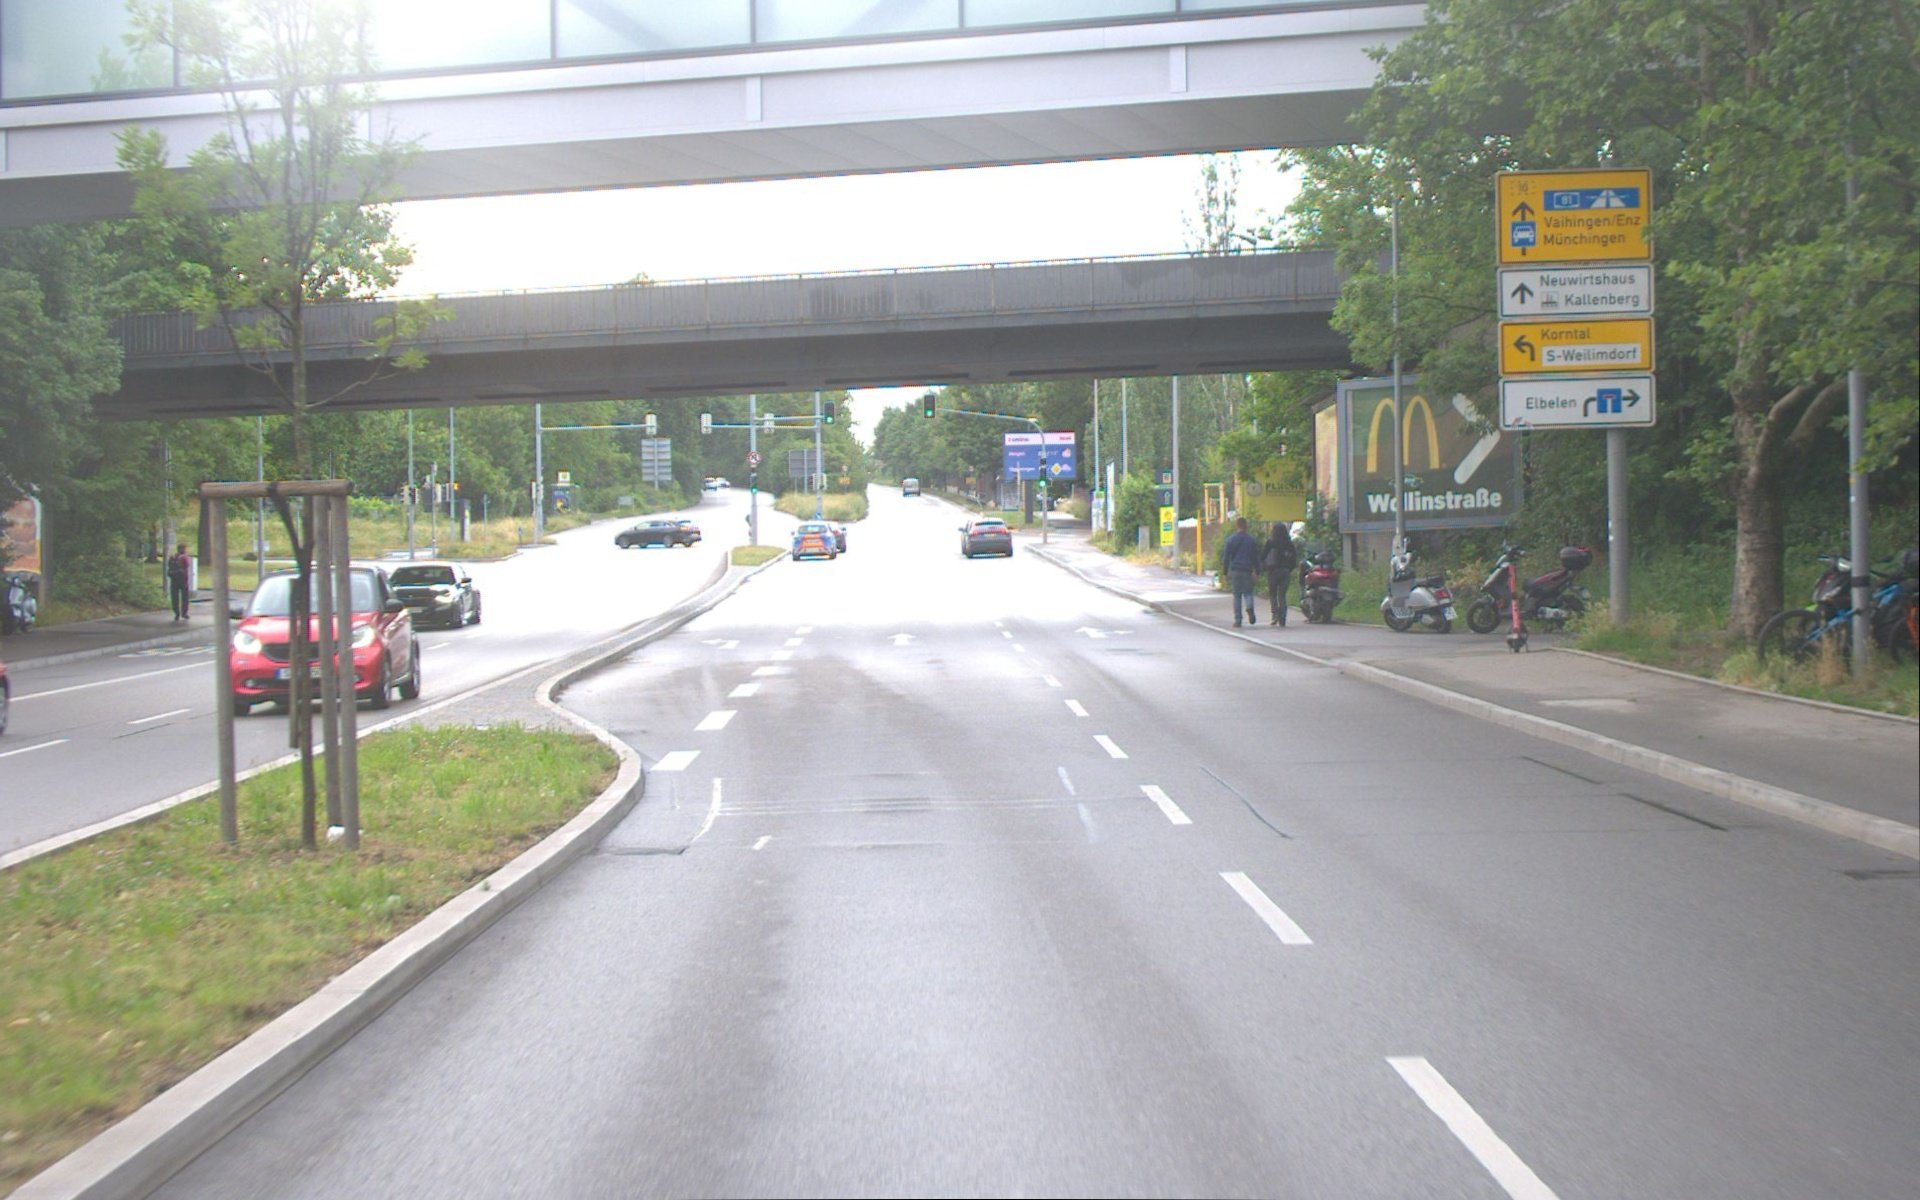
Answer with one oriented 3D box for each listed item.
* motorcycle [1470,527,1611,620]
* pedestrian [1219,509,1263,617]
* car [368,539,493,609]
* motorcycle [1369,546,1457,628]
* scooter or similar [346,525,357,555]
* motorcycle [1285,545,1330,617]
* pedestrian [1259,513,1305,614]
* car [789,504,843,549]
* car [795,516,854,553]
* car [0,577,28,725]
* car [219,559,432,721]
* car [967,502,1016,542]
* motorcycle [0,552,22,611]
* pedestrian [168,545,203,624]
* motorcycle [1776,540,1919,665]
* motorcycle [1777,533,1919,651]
[{"bbox_3d":[8.393,-0.380,49.764,1.942,1.293,0.546,-1,1,34],"label":"motorcycle"},{"bbox_3d":[4.541,-0.601,55.508,0.611,1.715,0.891,-1,1,9],"label":"pedestrian"},{"bbox_3d":[-11.292,-0.582,73.603,2.063,1.357,4.757,-2,1,-2],"label":"car"},{"bbox_3d":[6.810,-0.201,51.746,0.469,1.209,1.945,-2,1,-19],"label":"motorcycle"},{"bbox_3d":[-25.067,-2.489,141.620,0.311,1.214,1.308,-1,2,-15],"label":"scooter or similar"},{"bbox_3d":[5.604,-0.319,55.504,0.469,1.133,1.819,-2,1,-1],"label":"motorcycle"},{"bbox_3d":[5.175,-0.592,55.292,0.651,1.590,0.578,-1,1,11],"label":"pedestrian"},{"bbox_3d":[-5.751,-2.913,137.051,2.076,1.712,4.199,1,0,-3],"label":"car"},{"bbox_3d":[-5.973,-2.889,152.187,2.166,1.577,4.664,1,0,3],"label":"car"},{"bbox_3d":[-10.166,0.543,32.513,1.715,1.432,3.772,-3,1,-2],"label":"car"},{"bbox_3d":[-6.825,0.393,37.313,1.585,1.600,3.856,-3,1,-1],"label":"car"},{"bbox_3d":[1.193,-3.034,132.602,1.744,1.465,4.167,0,2,-2],"label":"car"},{"bbox_3d":[-19.541,-0.365,69.597,0.468,1.154,1.932,-1,2,2],"label":"motorcycle"},{"bbox_3d":[-18.135,-0.365,80.473,0.520,1.809,0.799,0,1,9],"label":"pedestrian"},{"bbox_3d":[9.501,0.011,35.835,1.848,1.248,0.630,-2,1,-16],"label":"motorcycle"},{"bbox_3d":[9.861,-0.099,37.544,0.628,1.248,1.854,-2,2,-36],"label":"motorcycle"}]
